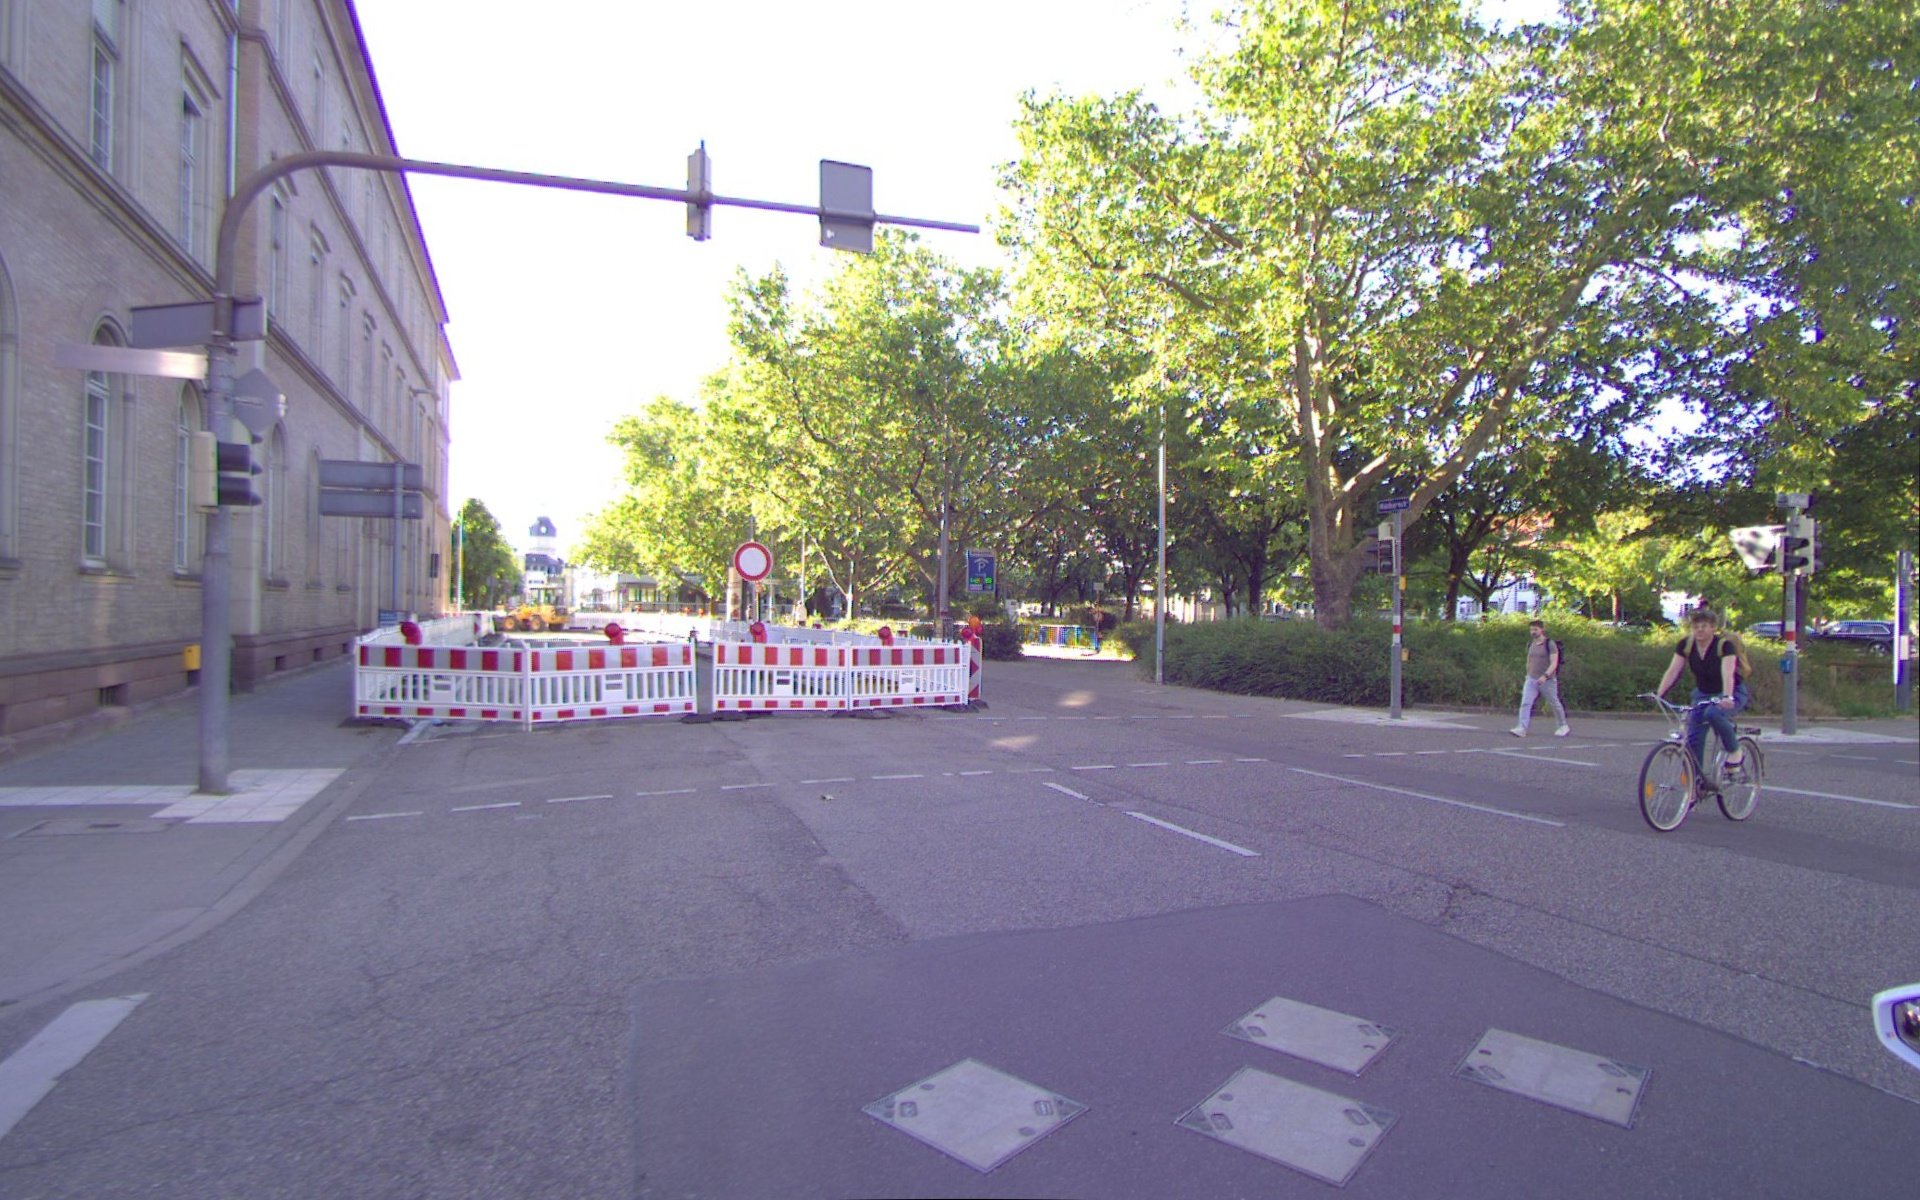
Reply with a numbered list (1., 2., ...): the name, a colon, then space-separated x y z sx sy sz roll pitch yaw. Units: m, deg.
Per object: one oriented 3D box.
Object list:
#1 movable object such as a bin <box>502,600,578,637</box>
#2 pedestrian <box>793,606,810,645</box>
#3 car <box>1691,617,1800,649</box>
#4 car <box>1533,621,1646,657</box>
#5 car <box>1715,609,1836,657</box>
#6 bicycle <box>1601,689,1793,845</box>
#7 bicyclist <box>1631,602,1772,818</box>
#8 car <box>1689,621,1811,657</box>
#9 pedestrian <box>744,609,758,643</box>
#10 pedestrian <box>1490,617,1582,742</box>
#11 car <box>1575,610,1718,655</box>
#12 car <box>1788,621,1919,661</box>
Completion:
1. movable object such as a bin: -25.745 1.151 61.614 3.919 2.220 1.943 -1 -1 15
2. pedestrian: -8.378 1.326 53.174 0.639 2.040 0.820 1 0 -29
3. car: 45.131 1.906 57.808 2.046 1.753 4.542 2 -2 -25
4. car: 31.974 1.968 51.163 2.046 1.753 4.542 2 -2 -25
5. car: 43.015 1.741 53.108 2.046 2.423 4.542 2 -2 -25
6. bicycle: 5.685 1.222 7.714 1.822 0.982 0.612 1 -1 -34
7. bicyclist: 5.699 0.800 7.719 0.894 1.552 0.612 1 -1 -34
8. car: 40.863 2.010 52.083 2.046 1.753 4.542 2 -2 -25
9. pedestrian: -12.797 1.584 61.570 0.601 2.040 0.820 1 0 -29
10. pedestrian: 8.354 1.136 14.591 0.939 1.745 0.703 1 -1 -14
11. car: 28.406 1.335 41.747 2.046 1.753 4.542 2 -2 -25
12. car: 41.629 1.857 46.639 2.046 1.753 4.542 2 -2 -25
